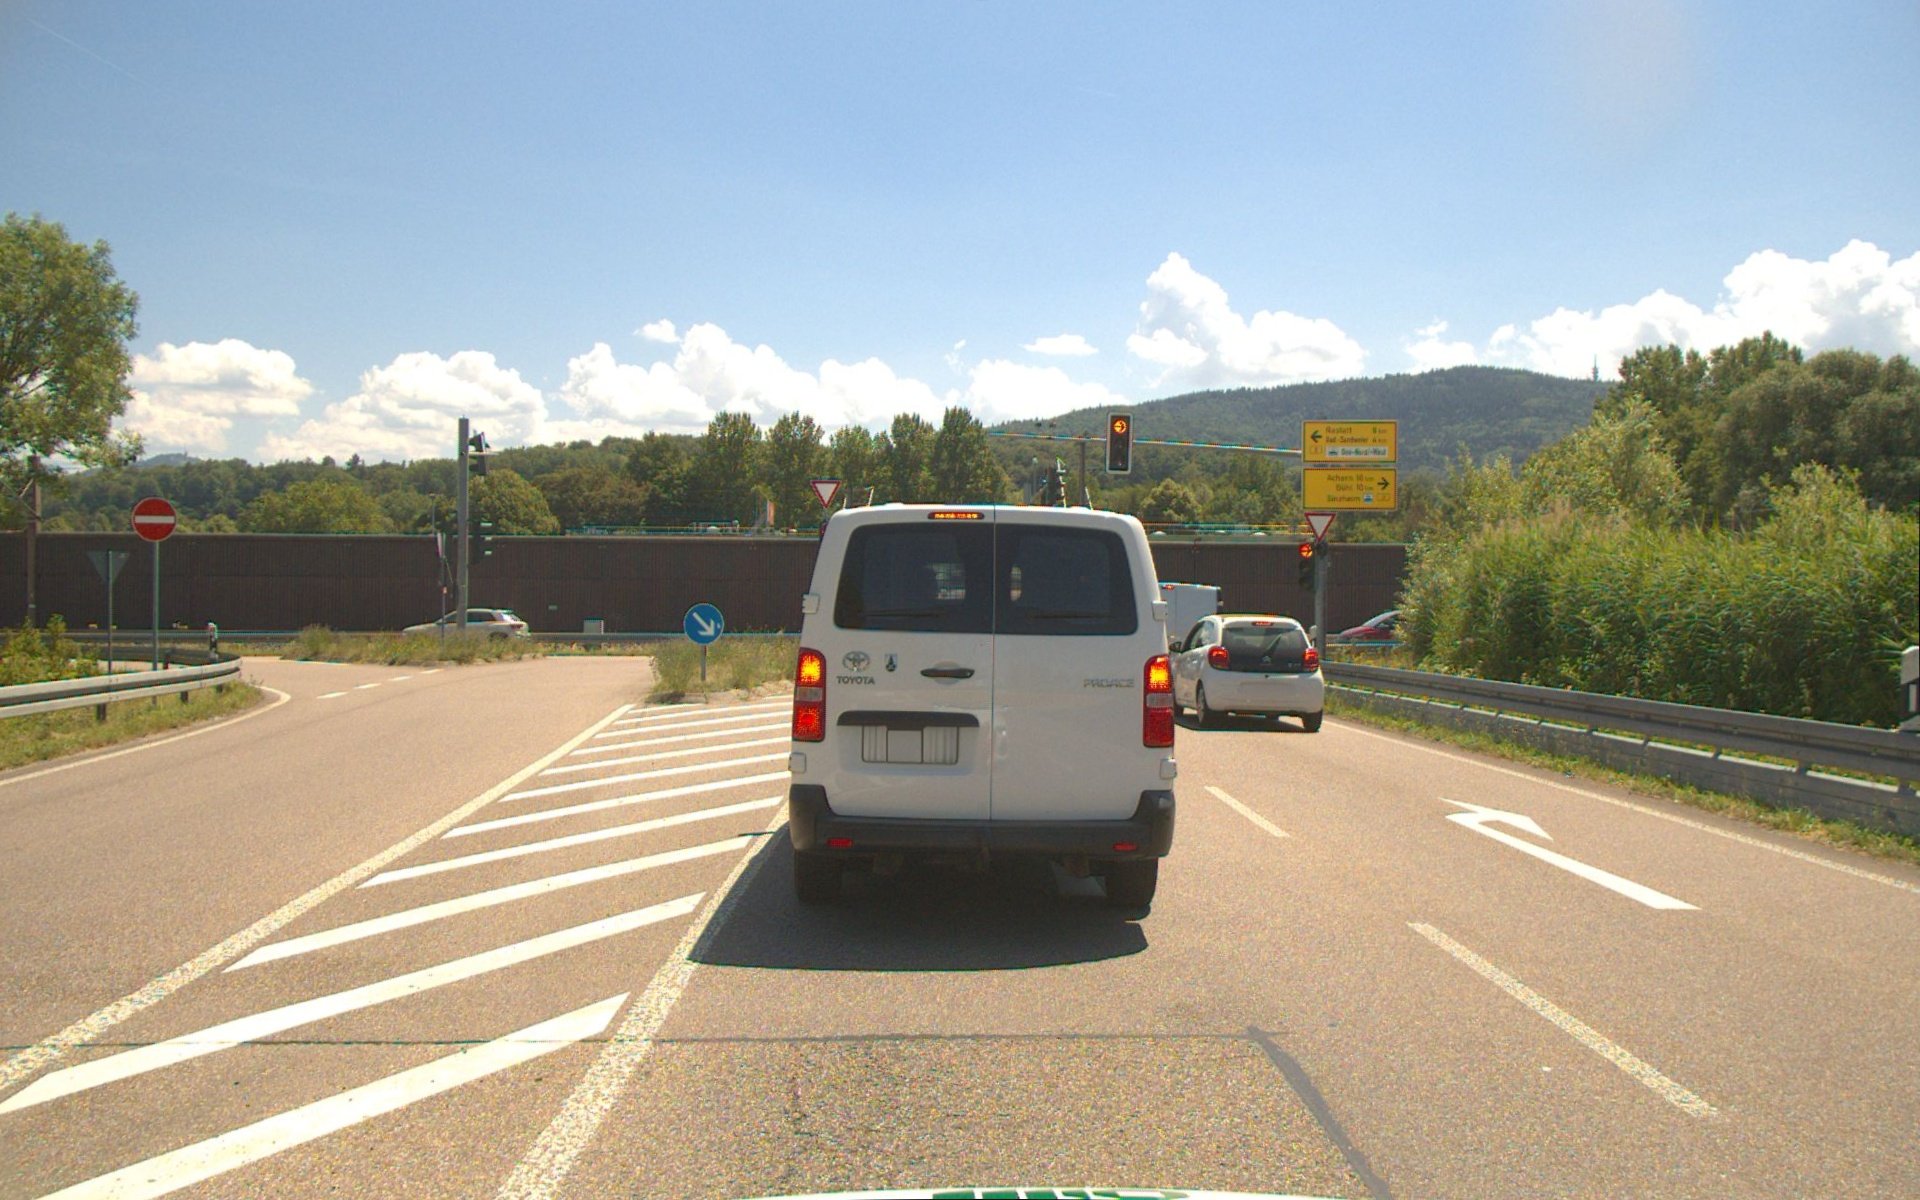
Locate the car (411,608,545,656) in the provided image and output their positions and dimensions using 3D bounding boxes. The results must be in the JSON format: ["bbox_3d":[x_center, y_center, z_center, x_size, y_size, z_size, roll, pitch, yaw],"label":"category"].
[{"bbox_3d":[-16.012,1.057,55.087,3.908,1.511,1.998,1,-1,-4],"label":"car"}]

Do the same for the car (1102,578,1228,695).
[{"bbox_3d":[3.846,0.660,31.742,1.889,2.035,4.838,1,-1,1],"label":"car"}]

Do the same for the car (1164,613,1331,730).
[{"bbox_3d":[3.833,0.914,22.553,1.622,1.456,3.365,1,-1,-1],"label":"car"}]

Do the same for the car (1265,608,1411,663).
[{"bbox_3d":[12.164,1.131,53.426,4.224,1.685,1.998,1,-1,-4],"label":"car"}]

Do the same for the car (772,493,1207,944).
[{"bbox_3d":[0.100,0.529,9.155,1.848,1.919,3.999,1,-1,-1],"label":"car"}]
